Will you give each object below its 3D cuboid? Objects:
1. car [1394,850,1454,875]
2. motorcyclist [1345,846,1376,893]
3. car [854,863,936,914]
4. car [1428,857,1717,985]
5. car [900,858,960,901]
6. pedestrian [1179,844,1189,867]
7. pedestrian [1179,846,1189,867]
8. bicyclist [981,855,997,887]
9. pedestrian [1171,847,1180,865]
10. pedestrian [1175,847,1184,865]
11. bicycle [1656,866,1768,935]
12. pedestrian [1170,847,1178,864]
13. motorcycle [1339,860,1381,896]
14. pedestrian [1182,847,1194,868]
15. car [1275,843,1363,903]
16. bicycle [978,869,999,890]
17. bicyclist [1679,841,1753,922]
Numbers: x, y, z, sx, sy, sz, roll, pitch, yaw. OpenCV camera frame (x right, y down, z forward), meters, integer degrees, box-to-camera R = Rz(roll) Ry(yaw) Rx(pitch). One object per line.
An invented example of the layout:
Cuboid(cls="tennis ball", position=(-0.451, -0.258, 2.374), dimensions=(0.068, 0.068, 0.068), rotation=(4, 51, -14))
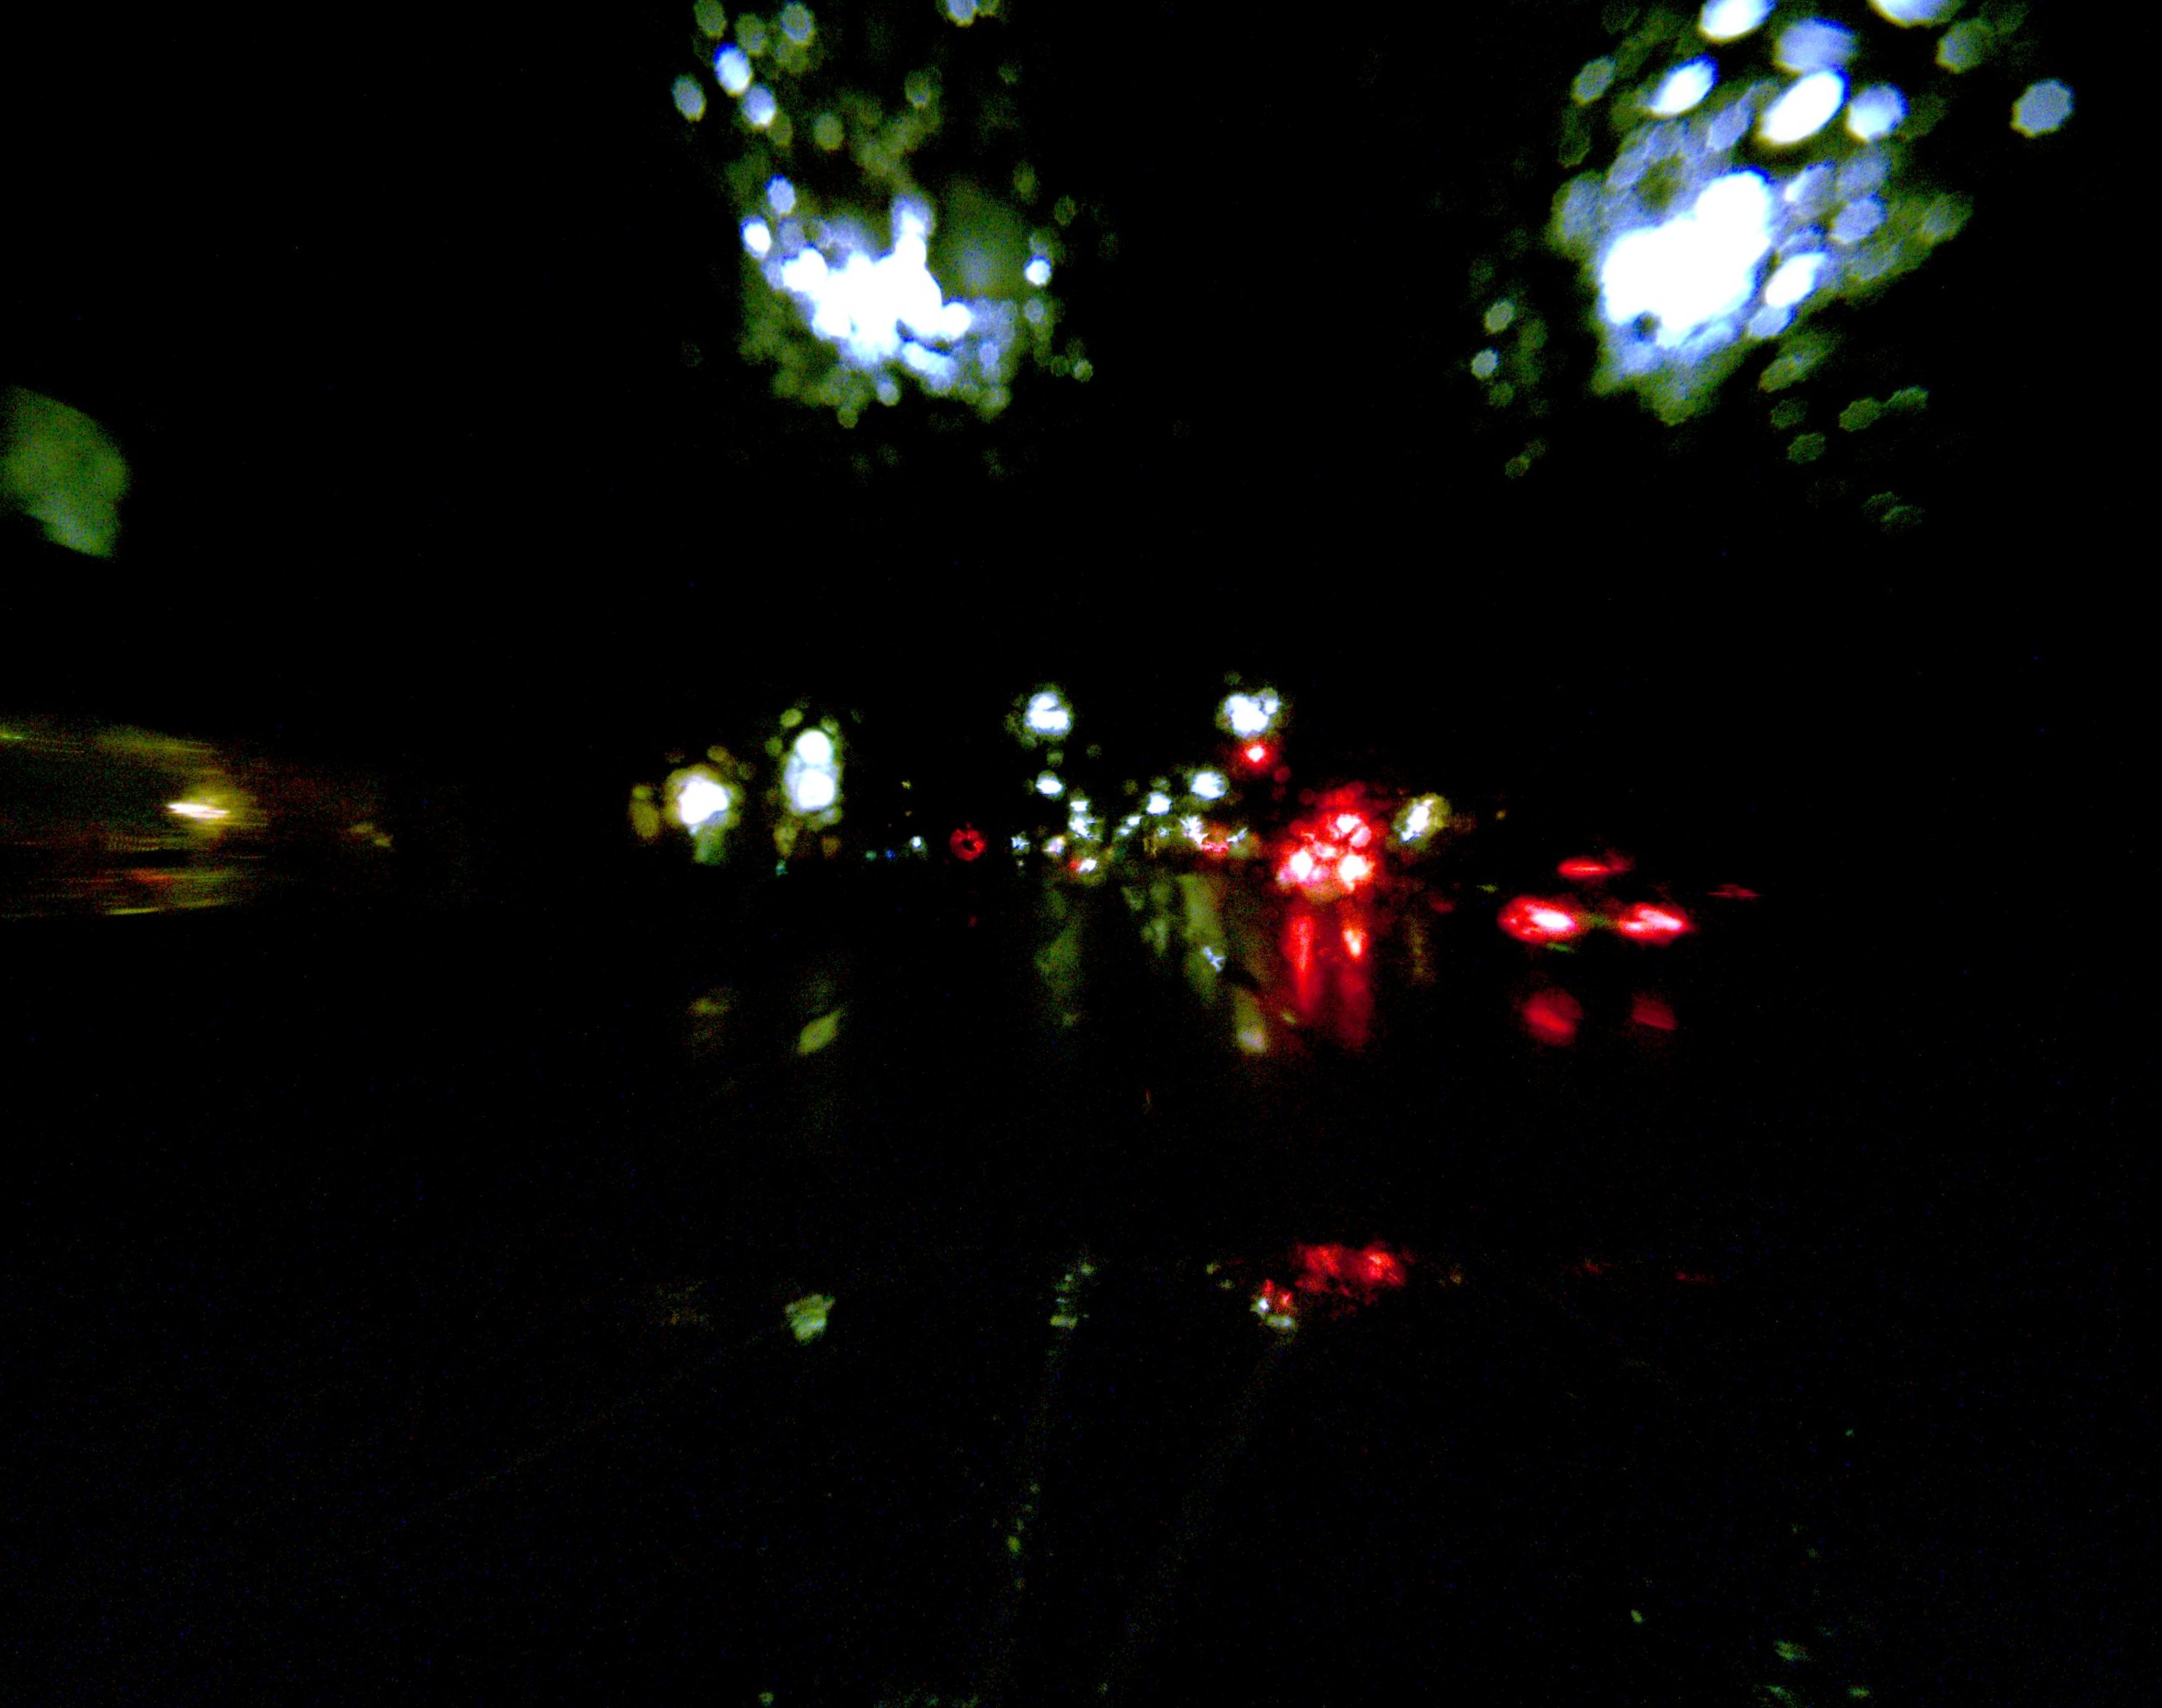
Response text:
Cuboid(cls="car", position=(22.865, 0.538, 50.633), dimensions=(3.603, 1.507, 1.920), rotation=(-2, 1, -30))
Cuboid(cls="motorcyclist", position=(10.586, 0.564, 28.802), dimensions=(0.709, 1.721, 1.028), rotation=(1, 2, -1))
Cuboid(cls="car", position=(-6.093, 1.086, 25.342), dimensions=(1.649, 1.433, 4.055), rotation=(3, 0, 1))
Cuboid(cls="car", position=(6.654, 0.802, 10.876), dimensions=(1.796, 1.456, 3.902), rotation=(-1, 0, 4))
Cuboid(cls="car", position=(-5.991, 0.971, 30.493), dimensions=(1.652, 1.516, 3.580), rotation=(3, 0, -1))
Cuboid(cls="pedestrian", position=(9.064, 0.100, 67.068), dimensions=(0.609, 1.975, 0.858), rotation=(-3, 2, -1))
Cuboid(cls="pedestrian", position=(8.865, 0.199, 65.308), dimensions=(0.716, 1.764, 0.671), rotation=(-3, 2, 4))
Cuboid(cls="bicyclist", position=(-4.630, 0.832, 38.187), dimensions=(0.573, 1.539, 0.814), rotation=(-4, 2, -21))
Cuboid(cls="pedestrian", position=(8.601, 0.183, 69.136), dimensions=(0.586, 1.643, 0.558), rotation=(-5, 2, -42))
Cuboid(cls="pedestrian", position=(8.895, 0.198, 68.576), dimensions=(0.401, 1.620, 0.531), rotation=(-5, 2, -42))
Cuboid(cls="bicycle", position=(12.113, 0.857, 14.671), dimensions=(0.656, 1.135, 1.898), rotation=(-3, 1, 5))
Cuboid(cls="pedestrian", position=(8.758, 0.167, 71.501), dimensions=(0.512, 1.539, 0.574), rotation=(-4, 2, -16))
Cuboid(cls="motorcycle", position=(10.579, 0.876, 28.889), dimensions=(0.709, 1.223, 2.325), rotation=(1, 1, -1))
Cuboid(cls="pedestrian", position=(8.887, 0.283, 63.198), dimensions=(0.671, 1.764, 0.716), rotation=(-4, 2, -8))
Cuboid(cls="car", position=(7.940, 0.549, 25.809), dimensions=(1.899, 1.858, 4.537), rotation=(0, 1, 5))
Cuboid(cls="bicycle", position=(-4.651, 1.272, 38.300), dimensions=(0.573, 0.964, 1.777), rotation=(-4, 1, -21))
Cuboid(cls="bicyclist", position=(12.074, 0.511, 14.468), dimensions=(0.656, 1.457, 0.868), rotation=(-3, 2, 5))
